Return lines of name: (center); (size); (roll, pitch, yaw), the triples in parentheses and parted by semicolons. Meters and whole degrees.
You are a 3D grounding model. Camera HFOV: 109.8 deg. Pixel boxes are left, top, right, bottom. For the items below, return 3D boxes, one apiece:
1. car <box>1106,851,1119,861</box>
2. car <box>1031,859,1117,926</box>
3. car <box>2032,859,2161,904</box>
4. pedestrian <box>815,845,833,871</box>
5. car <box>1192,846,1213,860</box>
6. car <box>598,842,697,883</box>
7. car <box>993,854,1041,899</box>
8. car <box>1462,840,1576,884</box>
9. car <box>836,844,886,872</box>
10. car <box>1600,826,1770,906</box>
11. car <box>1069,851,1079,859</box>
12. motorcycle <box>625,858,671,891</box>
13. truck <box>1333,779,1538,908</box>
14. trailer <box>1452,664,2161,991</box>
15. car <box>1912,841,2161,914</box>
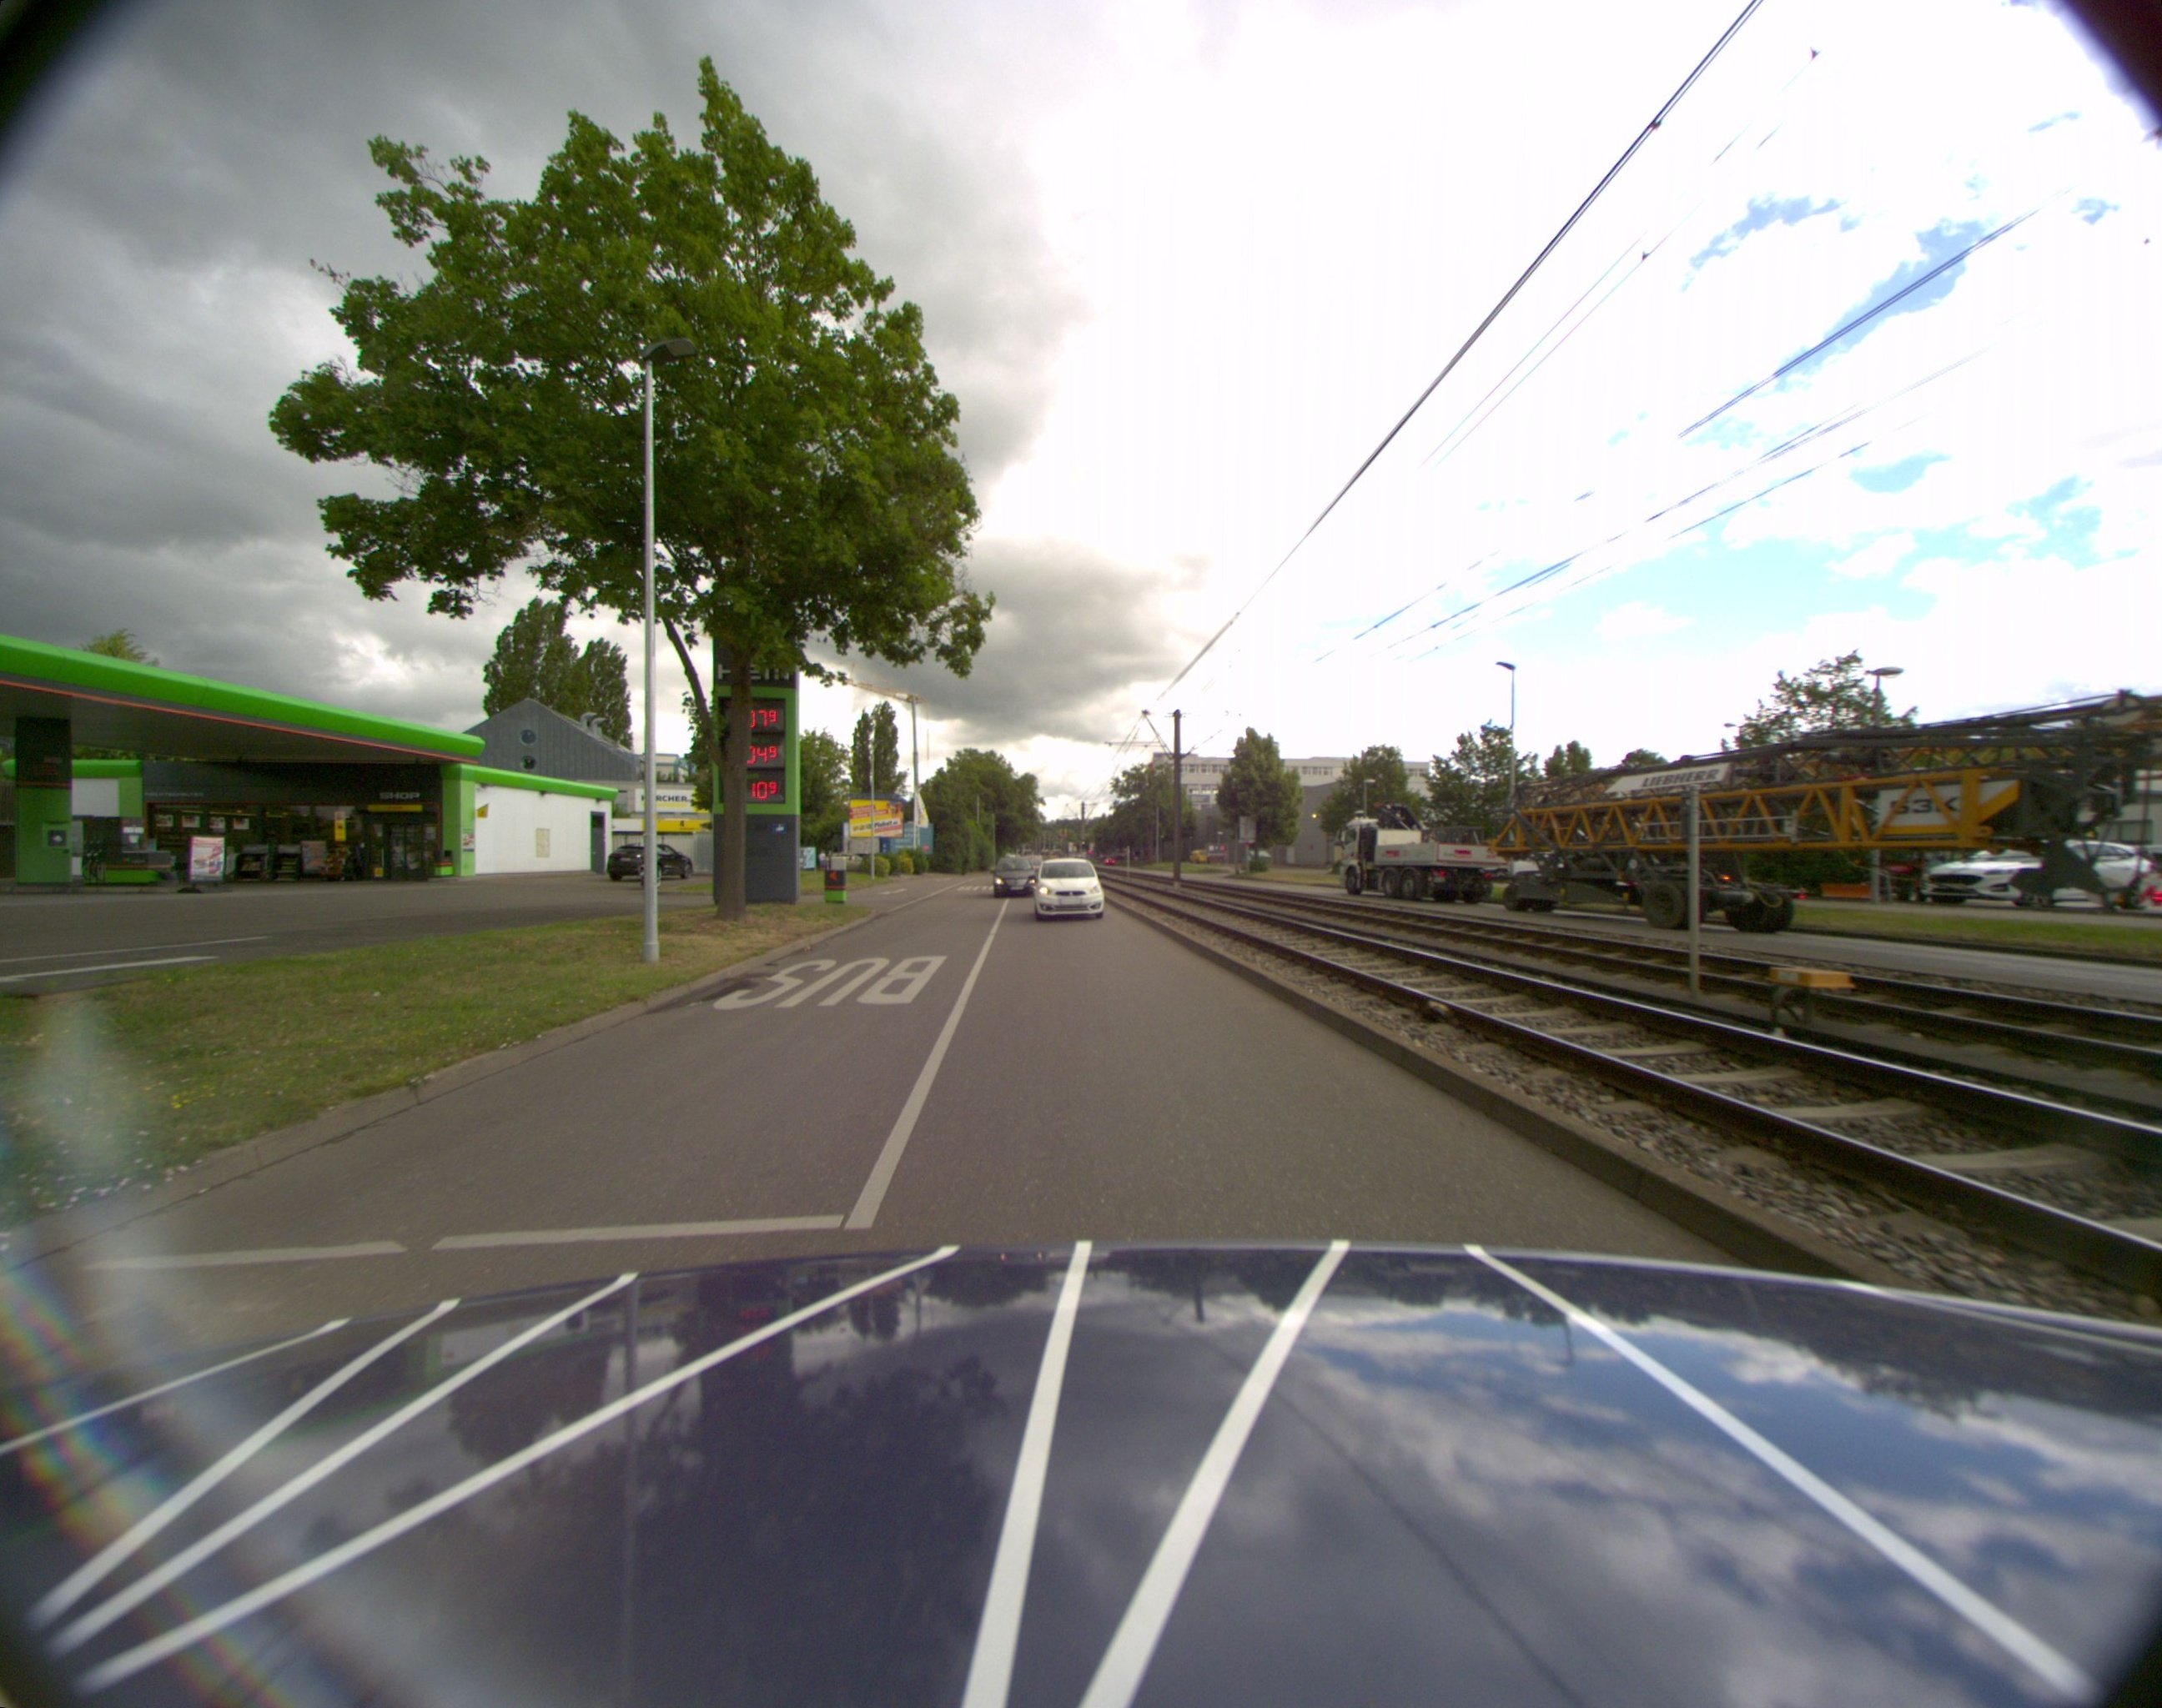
car: (6.554, 0.375, 156.898); (1.999, 2.002, 3.998); (-3, 0, -6)
car: (-0.292, 0.900, 19.549); (1.787, 1.435, 3.998); (-3, 0, -6)
car: (39.351, 1.022, 29.063); (3.999, 1.498, 1.776); (-3, 1, -5)
pedestrian: (-17.780, 0.283, 52.503); (1.043, 1.688, 1.074); (-3, 1, -24)
car: (17.475, -0.176, 109.295); (1.999, 2.002, 3.998); (0, 0, -5)
car: (-18.879, 0.338, 33.357); (1.999, 1.629, 4.325); (2, 0, -3)
car: (-2.644, 0.856, 30.969); (1.787, 1.614, 3.998); (-3, 0, -6)
car: (21.307, 0.373, 37.058); (4.357, 1.908, 2.000); (-2, 1, -1)
car: (-15.518, 0.283, 53.769); (3.247, 1.782, 1.543); (-3, 1, -15)
car: (22.085, 0.428, 27.921); (4.483, 2.732, 2.288); (1, 1, -4)
car: (-1.684, 0.261, 183.998); (1.999, 2.002, 3.998); (-3, 0, -6)
motorcycle: (-15.875, 0.728, 27.912); (0.705, 1.180, 2.386); (0, 0, -10)
truck: (12.395, -0.299, 27.763); (2.900, 3.943, 8.627); (0, 0, -4)
trailer: (13.322, -0.293, 16.295); (2.679, 3.874, 14.419); (2, 0, -4)
car: (23.313, 0.532, 18.562); (4.483, 1.498, 1.794); (-3, 1, -7)
